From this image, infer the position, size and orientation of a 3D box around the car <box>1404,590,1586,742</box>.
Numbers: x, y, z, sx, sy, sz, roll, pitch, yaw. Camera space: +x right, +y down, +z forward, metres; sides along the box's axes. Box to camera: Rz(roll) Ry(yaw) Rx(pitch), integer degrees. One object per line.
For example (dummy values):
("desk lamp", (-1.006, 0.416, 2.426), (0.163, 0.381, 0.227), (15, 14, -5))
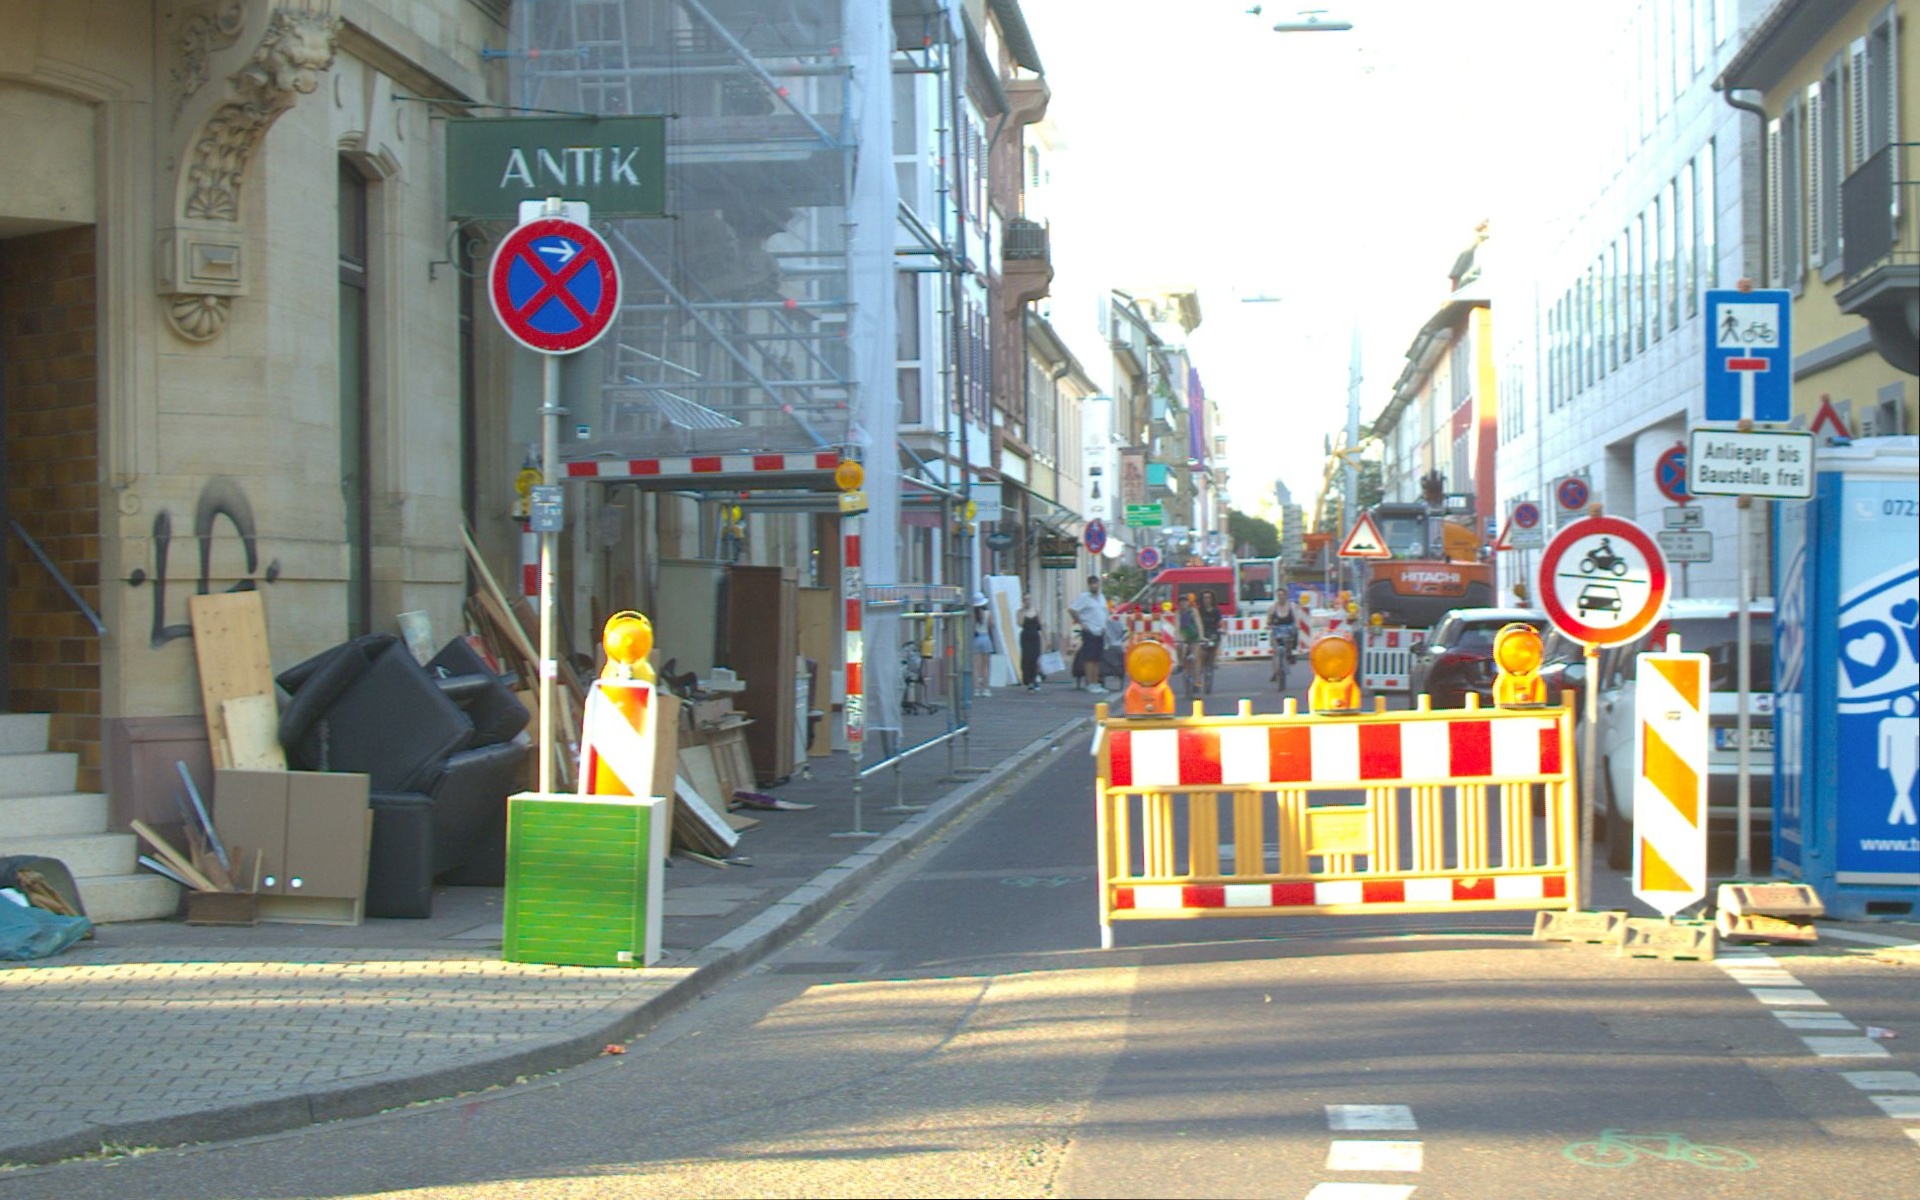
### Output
("car", (5.654, 0.673, 36.603), (1.718, 1.515, 3.220), (-1, 0, 6))

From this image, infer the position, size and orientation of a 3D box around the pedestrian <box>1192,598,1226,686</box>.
("pedestrian", (4.155, 0.698, 57.351), (0.505, 1.456, 0.512), (-1, 0, 11))

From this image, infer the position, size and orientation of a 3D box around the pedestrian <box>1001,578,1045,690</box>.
("pedestrian", (0.985, 0.529, 53.607), (0.676, 1.727, 0.700), (0, -1, 2))

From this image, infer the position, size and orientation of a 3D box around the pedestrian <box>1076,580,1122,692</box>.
("pedestrian", (2.194, 0.564, 54.293), (0.504, 1.758, 0.512), (-1, 0, -36))

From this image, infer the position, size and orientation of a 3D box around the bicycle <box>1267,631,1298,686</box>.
("bicycle", (5.384, 0.977, 57.427), (0.504, 0.881, 1.476), (-1, 0, 5))

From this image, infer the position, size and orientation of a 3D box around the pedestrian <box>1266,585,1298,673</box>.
("pedestrian", (5.375, 0.488, 57.358), (0.504, 1.456, 0.512), (-1, 0, 4))

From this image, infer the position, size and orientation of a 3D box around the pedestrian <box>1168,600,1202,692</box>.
("pedestrian", (3.614, 0.732, 55.204), (0.504, 1.456, 0.512), (-1, 0, 6))

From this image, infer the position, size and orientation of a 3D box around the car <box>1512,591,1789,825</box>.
("car", (4.875, 0.712, 24.694), (1.540, 1.515, 3.978), (-1, 0, 6))

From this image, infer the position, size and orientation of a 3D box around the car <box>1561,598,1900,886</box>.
("car", (4.455, 0.766, 20.241), (1.541, 1.515, 3.220), (1, 0, 6))
